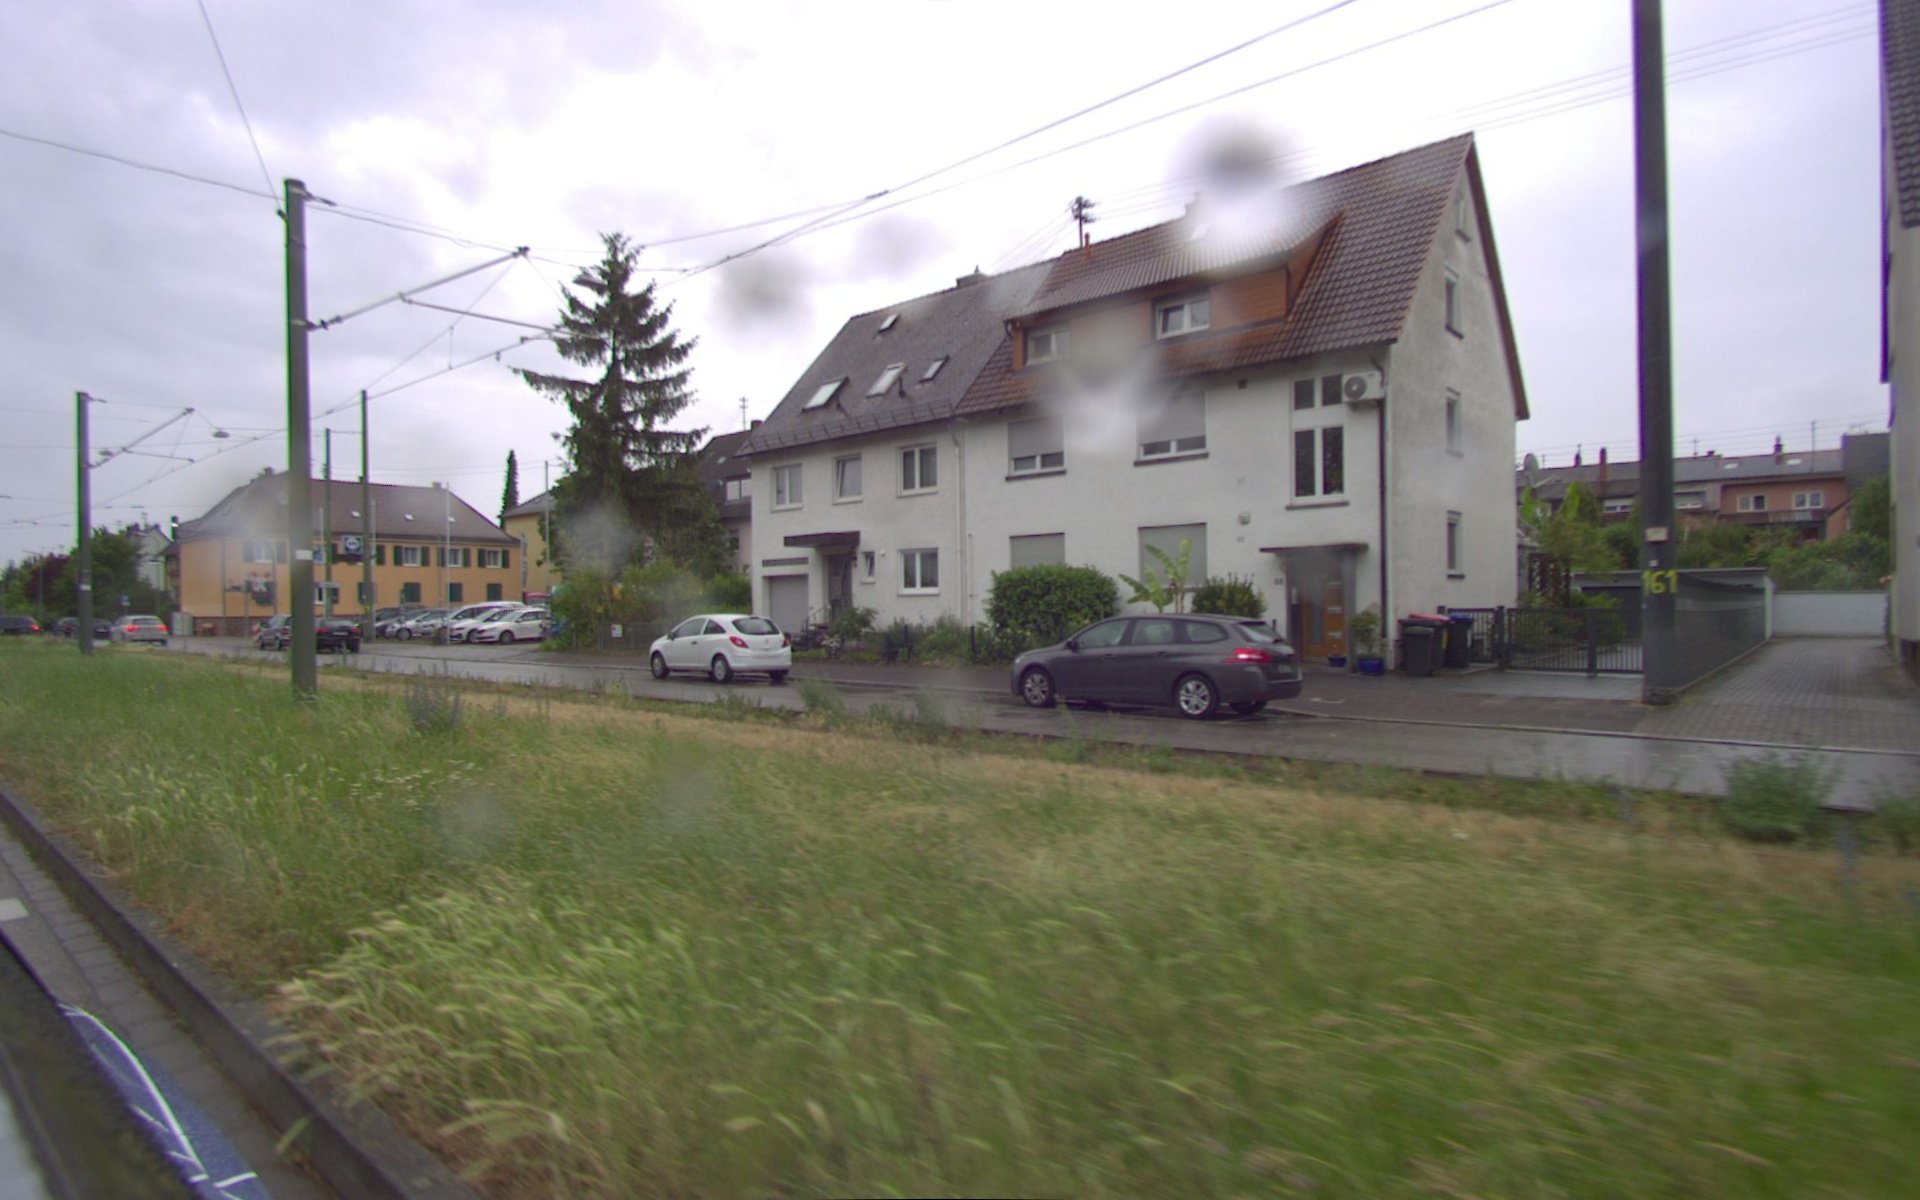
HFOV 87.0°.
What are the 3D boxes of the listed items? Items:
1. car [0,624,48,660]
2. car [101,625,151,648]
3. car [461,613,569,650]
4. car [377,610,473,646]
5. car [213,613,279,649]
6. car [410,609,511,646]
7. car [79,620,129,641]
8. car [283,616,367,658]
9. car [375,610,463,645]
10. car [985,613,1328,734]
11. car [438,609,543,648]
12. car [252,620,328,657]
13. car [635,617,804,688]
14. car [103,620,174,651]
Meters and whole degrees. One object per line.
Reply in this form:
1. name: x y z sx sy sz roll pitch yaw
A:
1. car: -48.567 2.115 50.665 4.056 1.756 2.005 0 -1 -34
2. car: -54.521 2.352 66.107 4.075 1.442 1.861 -1 -1 41
3. car: -19.643 1.366 44.739 1.914 1.475 3.943 -1 0 43
4. car: -26.401 1.370 49.967 3.934 1.607 1.918 -1 0 -35
5. car: -35.790 1.531 50.721 4.001 1.670 1.971 -1 0 44
6. car: -23.756 1.284 48.200 3.938 1.607 1.916 -1 0 -41
7. car: -60.936 2.153 72.031 4.075 1.442 2.069 -1 -1 41
8. car: -25.958 1.482 41.334 3.999 1.602 1.887 -1 -1 42
9. car: -27.947 1.391 52.304 3.931 1.607 1.919 -1 0 -29
10. car: 2.796 0.995 15.156 4.754 1.543 1.867 -1 -2 41
11. car: -21.488 1.287 46.393 1.914 1.607 3.943 -1 0 43
12. car: -29.455 1.650 44.441 3.999 1.541 1.857 -1 -1 42
13. car: -5.445 1.118 22.712 3.998 1.451 1.693 -1 -2 41
14. car: -40.648 1.722 50.047 4.278 1.442 2.078 -1 -1 42
